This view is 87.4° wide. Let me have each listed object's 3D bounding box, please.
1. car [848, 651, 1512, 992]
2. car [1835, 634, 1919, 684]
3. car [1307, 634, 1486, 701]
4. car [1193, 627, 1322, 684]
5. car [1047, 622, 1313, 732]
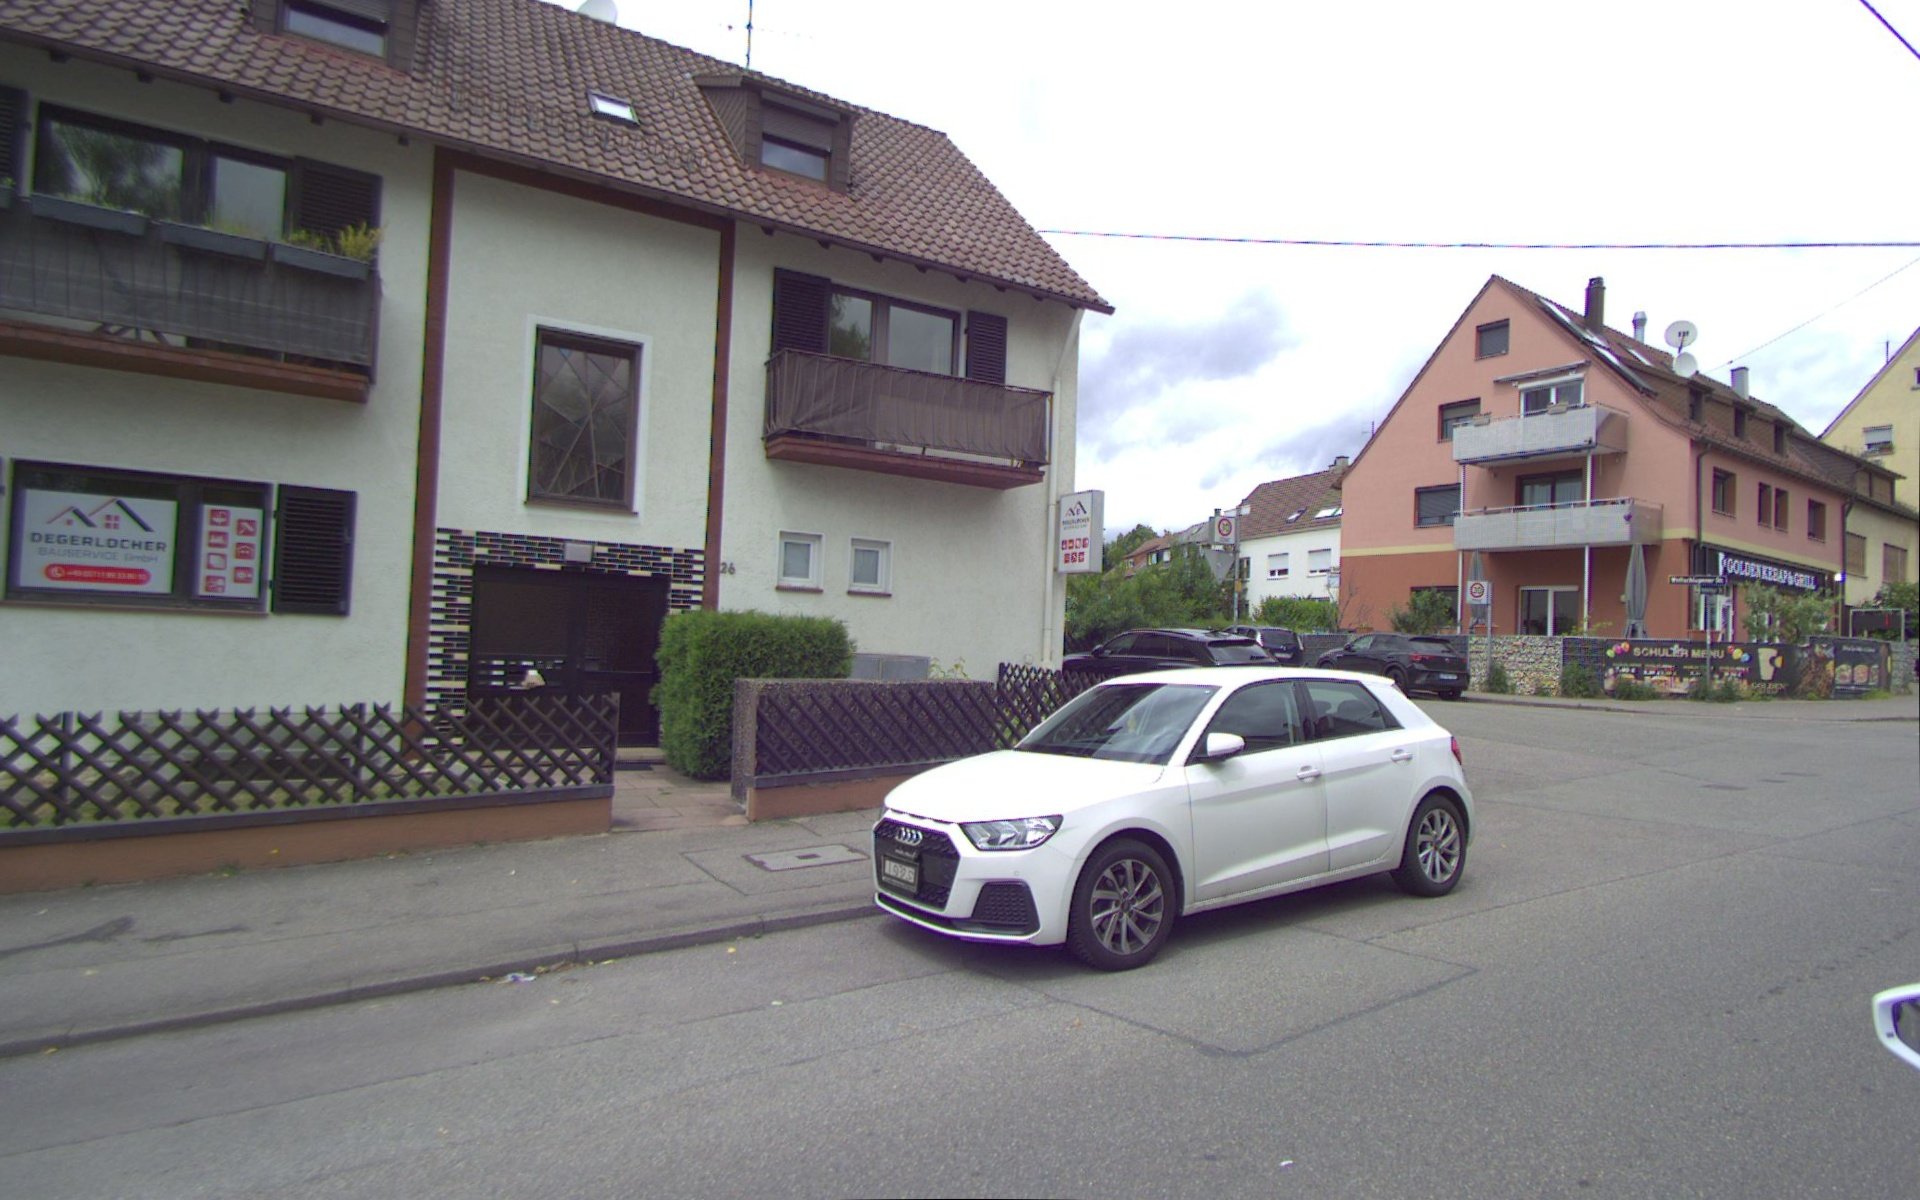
[{"bbox_3d":[1.426,1.085,6.167,3.855,1.477,1.718,2,-5,-32],"label":"car"},{"bbox_3d":[30.271,1.867,31.275,1.979,1.491,4.207,5,-5,-32],"label":"car"},{"bbox_3d":[10.937,1.657,25.557,1.965,1.491,4.410,3,-3,-12],"label":"car"},{"bbox_3d":[9.167,1.700,31.384,1.965,1.583,4.410,3,-3,-12],"label":"car"},{"bbox_3d":[3.538,1.181,17.053,1.975,1.492,4.499,1,0,-28],"label":"car"}]
